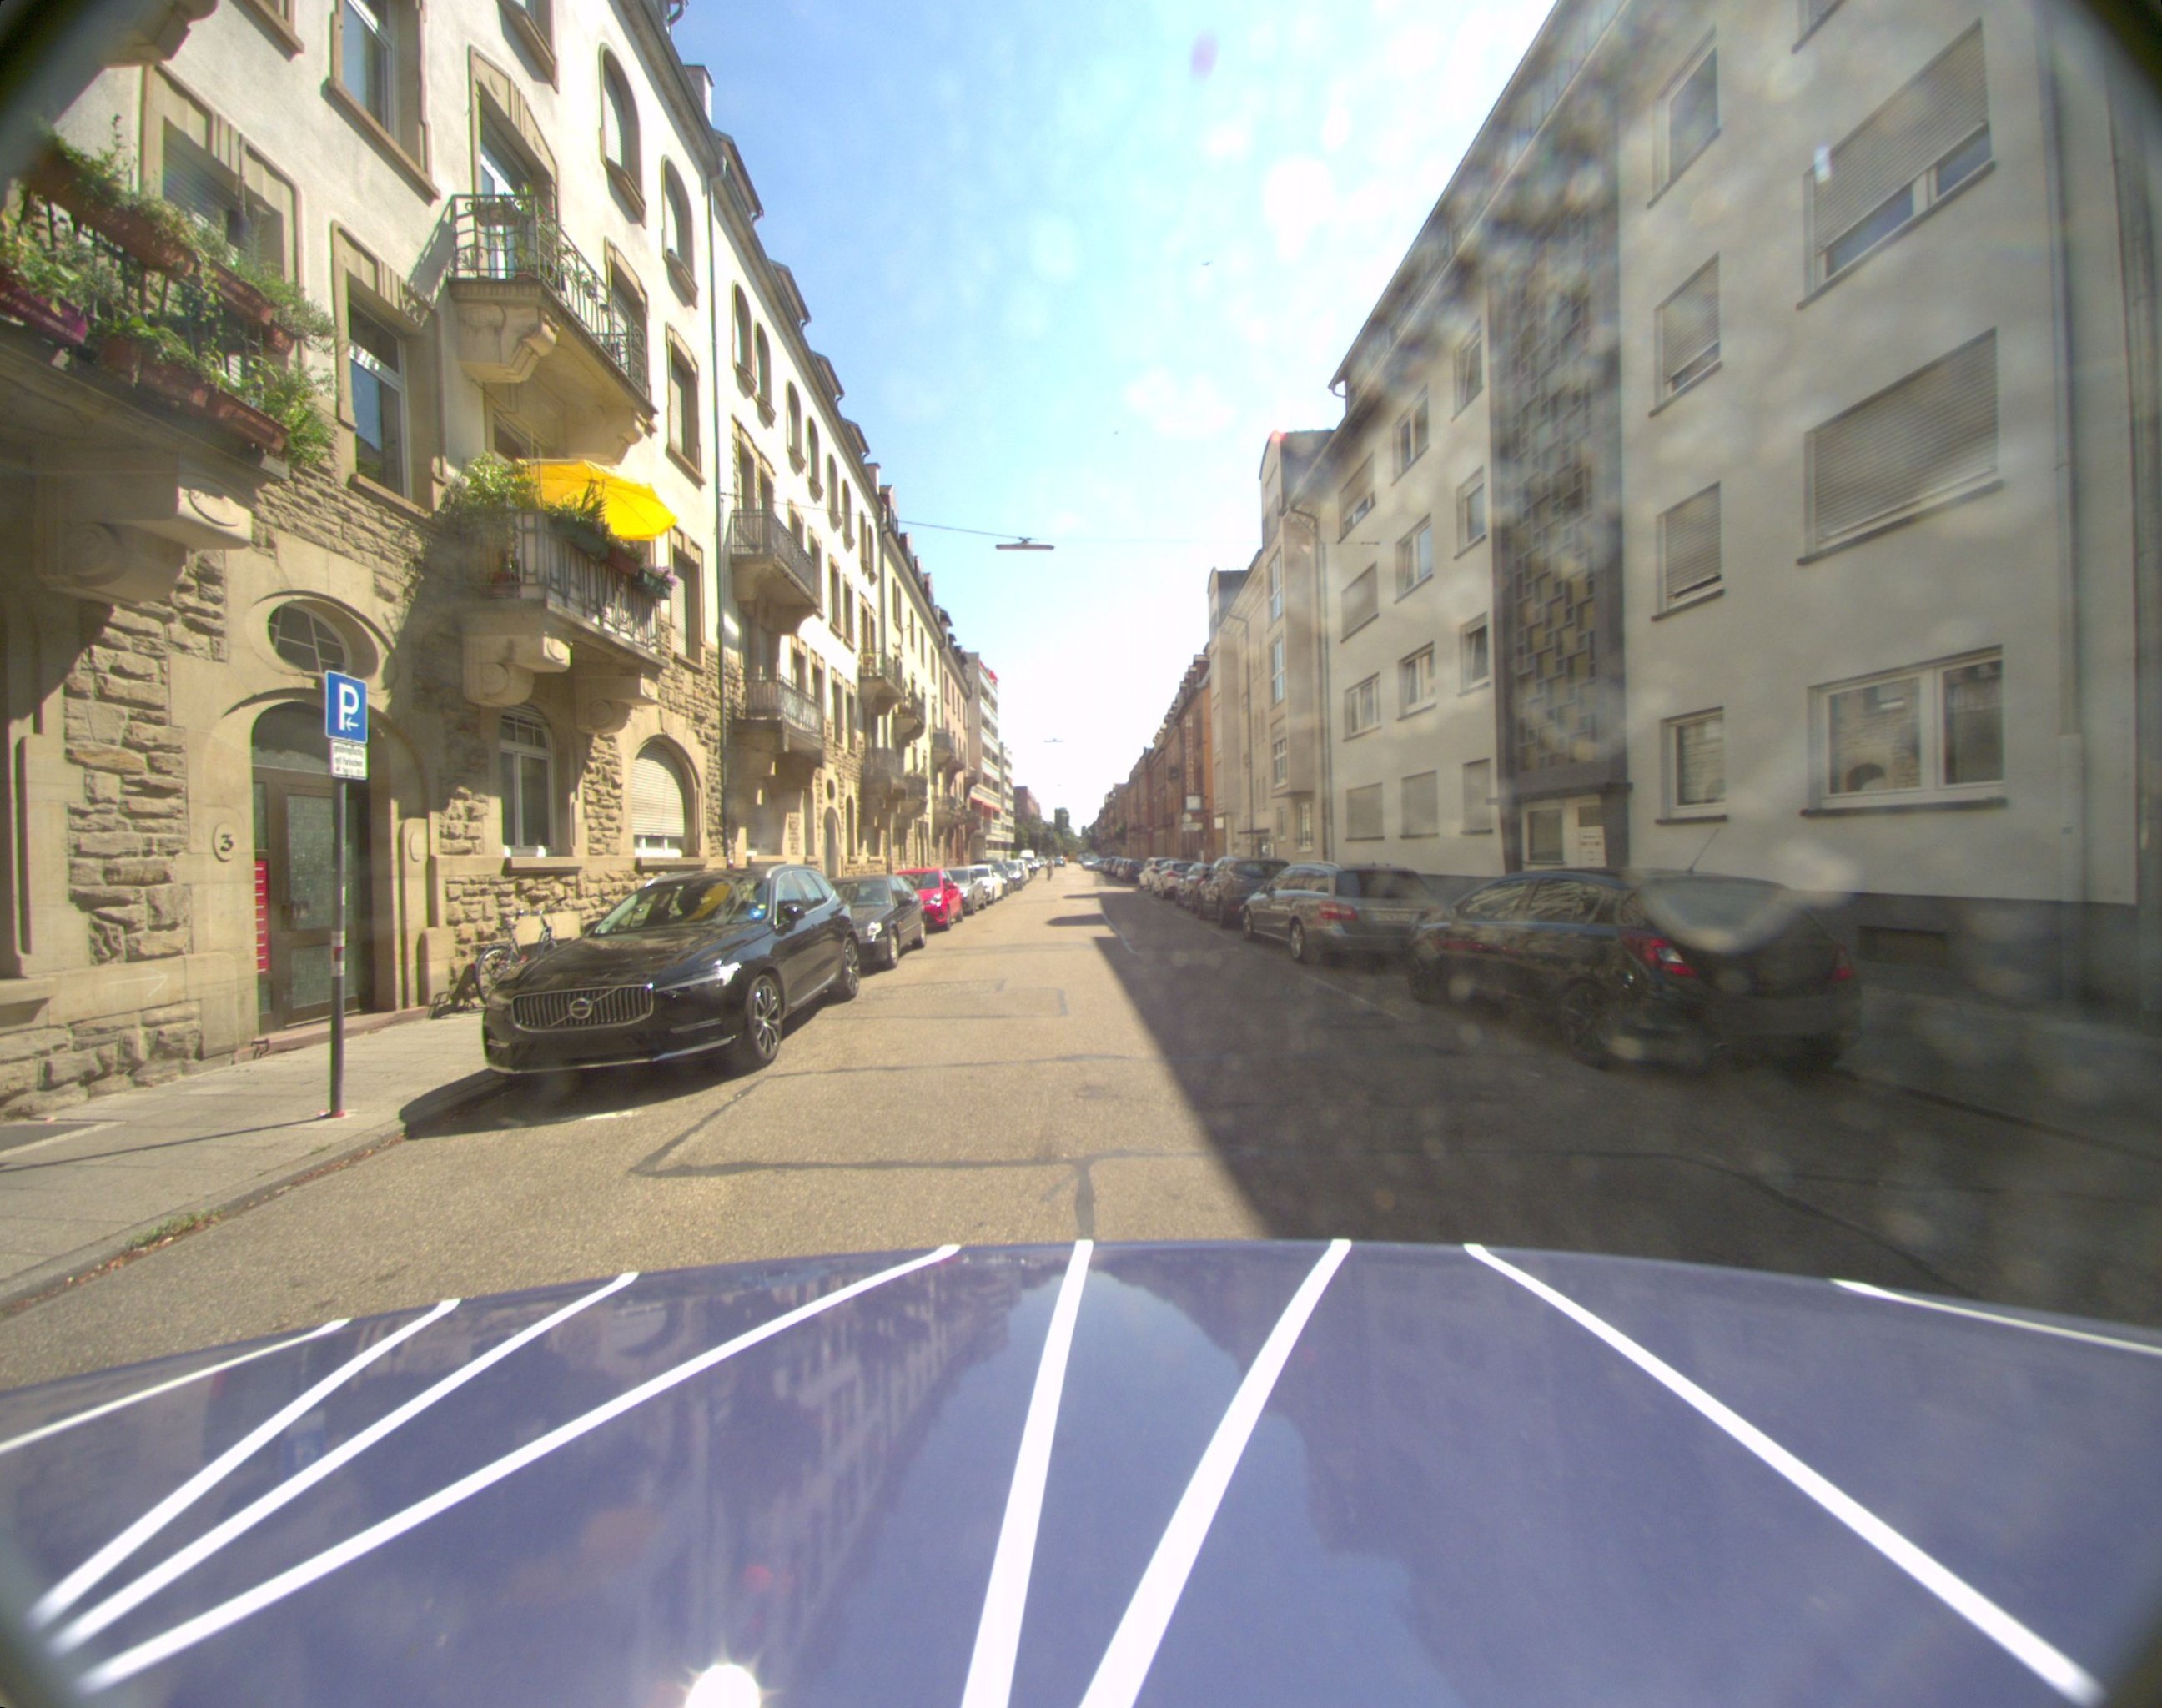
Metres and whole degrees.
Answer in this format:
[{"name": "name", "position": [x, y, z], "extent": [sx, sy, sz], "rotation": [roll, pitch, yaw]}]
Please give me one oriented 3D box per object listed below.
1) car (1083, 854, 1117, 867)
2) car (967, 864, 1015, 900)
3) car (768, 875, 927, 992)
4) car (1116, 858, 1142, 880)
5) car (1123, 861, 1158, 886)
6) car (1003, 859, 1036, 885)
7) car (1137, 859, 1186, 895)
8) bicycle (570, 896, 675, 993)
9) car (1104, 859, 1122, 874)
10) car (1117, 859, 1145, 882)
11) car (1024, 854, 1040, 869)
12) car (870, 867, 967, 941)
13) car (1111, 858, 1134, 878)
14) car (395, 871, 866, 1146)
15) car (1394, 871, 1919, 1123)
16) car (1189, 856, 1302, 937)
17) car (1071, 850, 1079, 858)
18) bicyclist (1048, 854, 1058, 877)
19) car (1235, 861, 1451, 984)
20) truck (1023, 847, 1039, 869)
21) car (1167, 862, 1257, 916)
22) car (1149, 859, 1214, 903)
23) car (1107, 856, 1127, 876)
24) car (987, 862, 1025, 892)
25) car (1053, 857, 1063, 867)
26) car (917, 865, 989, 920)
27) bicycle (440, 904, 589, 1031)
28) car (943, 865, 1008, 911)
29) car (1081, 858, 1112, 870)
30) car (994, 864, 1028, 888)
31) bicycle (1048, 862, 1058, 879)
[{"name": "car", "position": [2.238, 0.801, 89.492], "extent": [3.997, 1.422, 1.678], "rotation": [-1, 1, 0]}, {"name": "car", "position": [-4.040, 1.214, 34.794], "extent": [1.741, 1.449, 4.667], "rotation": [-1, 0, -2]}, {"name": "car", "position": [-3.592, 1.146, 12.397], "extent": [1.516, 1.390, 3.971], "rotation": [-3, 0, -4]}, {"name": "car", "position": [3.610, 1.093, 57.607], "extent": [1.450, 1.534, 3.524], "rotation": [3, 0, -4]}, {"name": "car", "position": [3.675, 1.185, 47.395], "extent": [1.782, 1.421, 3.836], "rotation": [3, 0, 0]}, {"name": "car", "position": [-4.121, 1.194, 51.438], "extent": [1.652, 1.613, 4.092], "rotation": [-1, 0, 3]}, {"name": "car", "position": [3.832, 1.067, 36.730], "extent": [1.633, 1.540, 3.851], "rotation": [3, 0, -5]}, {"name": "bicycle", "position": [-6.645, 1.266, 11.120], "extent": [0.442, 1.201, 1.775], "rotation": [-1, 0, 0]}, {"name": "car", "position": [3.034, 1.179, 73.077], "extent": [1.450, 1.391, 3.525], "rotation": [3, 0, -1]}, {"name": "car", "position": [3.461, 1.121, 52.733], "extent": [1.632, 1.421, 3.678], "rotation": [3, 0, 0]}, {"name": "car", "position": [-6.677, 0.977, 104.096], "extent": [1.903, 2.002, 3.999], "rotation": [-1, 0, -1]}, {"name": "car", "position": [-3.879, 1.138, 18.695], "extent": [1.575, 1.444, 3.842], "rotation": [-3, 0, -2]}, {"name": "car", "position": [3.389, 1.130, 61.949], "extent": [1.450, 1.464, 3.524], "rotation": [3, 0, -3]}, {"name": "car", "position": [-3.548, 1.045, 7.223], "extent": [1.838, 1.558, 4.603], "rotation": [-3, 0, -3]}, {"name": "car", "position": [4.438, 0.952, 6.737], "extent": [1.571, 1.483, 3.893], "rotation": [1, 0, -2]}, {"name": "car", "position": [3.667, 0.876, 17.611], "extent": [1.608, 1.634, 3.976], "rotation": [1, 0, -2]}, {"name": "car", "position": [-1.521, 0.001, 187.164], "extent": [1.785, 2.002, 4.000], "rotation": [-2, 0, 1]}, {"name": "bicyclist", "position": [-1.989, 0.808, 53.928], "extent": [0.645, 1.640, 0.622], "rotation": [-1, 1, -1]}, {"name": "car", "position": [3.865, 0.911, 12.157], "extent": [1.661, 1.510, 4.670], "rotation": [1, 0, -2]}, {"name": "truck", "position": [-6.405, 0.541, 97.975], "extent": [1.869, 2.715, 4.507], "rotation": [-1, 0, -1]}, {"name": "car", "position": [3.822, 0.983, 22.816], "extent": [1.770, 1.385, 4.347], "rotation": [1, 0, -2]}, {"name": "car", "position": [3.845, 0.991, 29.709], "extent": [1.735, 1.486, 4.347], "rotation": [2, 0, -2]}, {"name": "car", "position": [3.227, 1.068, 68.144], "extent": [1.450, 1.633, 3.525], "rotation": [3, 0, -2]}, {"name": "car", "position": [-3.963, 1.205, 40.758], "extent": [1.828, 1.423, 4.488], "rotation": [-2, 0, -4]}, {"name": "car", "position": [-3.643, 1.277, 120.621], "extent": [1.625, 1.600, 3.596], "rotation": [-1, 0, -2]}, {"name": "car", "position": [-3.945, 1.158, 24.025], "extent": [1.594, 1.444, 3.855], "rotation": [-3, 0, -1]}, {"name": "bicycle", "position": [-6.516, 1.252, 8.859], "extent": [0.385, 1.201, 1.775], "rotation": [-1, 0, 0]}, {"name": "car", "position": [-3.961, 1.250, 29.254], "extent": [1.720, 1.444, 4.597], "rotation": [-3, 0, 1]}, {"name": "car", "position": [2.026, 1.317, 100.087], "extent": [3.997, 1.491, 1.652], "rotation": [-1, 1, 0]}, {"name": "car", "position": [-4.224, 1.296, 46.396], "extent": [1.791, 1.350, 4.352], "rotation": [-1, 0, -1]}, {"name": "bicycle", "position": [-1.987, 1.163, 53.938], "extent": [0.671, 1.169, 2.094], "rotation": [-1, 0, -1]}]
